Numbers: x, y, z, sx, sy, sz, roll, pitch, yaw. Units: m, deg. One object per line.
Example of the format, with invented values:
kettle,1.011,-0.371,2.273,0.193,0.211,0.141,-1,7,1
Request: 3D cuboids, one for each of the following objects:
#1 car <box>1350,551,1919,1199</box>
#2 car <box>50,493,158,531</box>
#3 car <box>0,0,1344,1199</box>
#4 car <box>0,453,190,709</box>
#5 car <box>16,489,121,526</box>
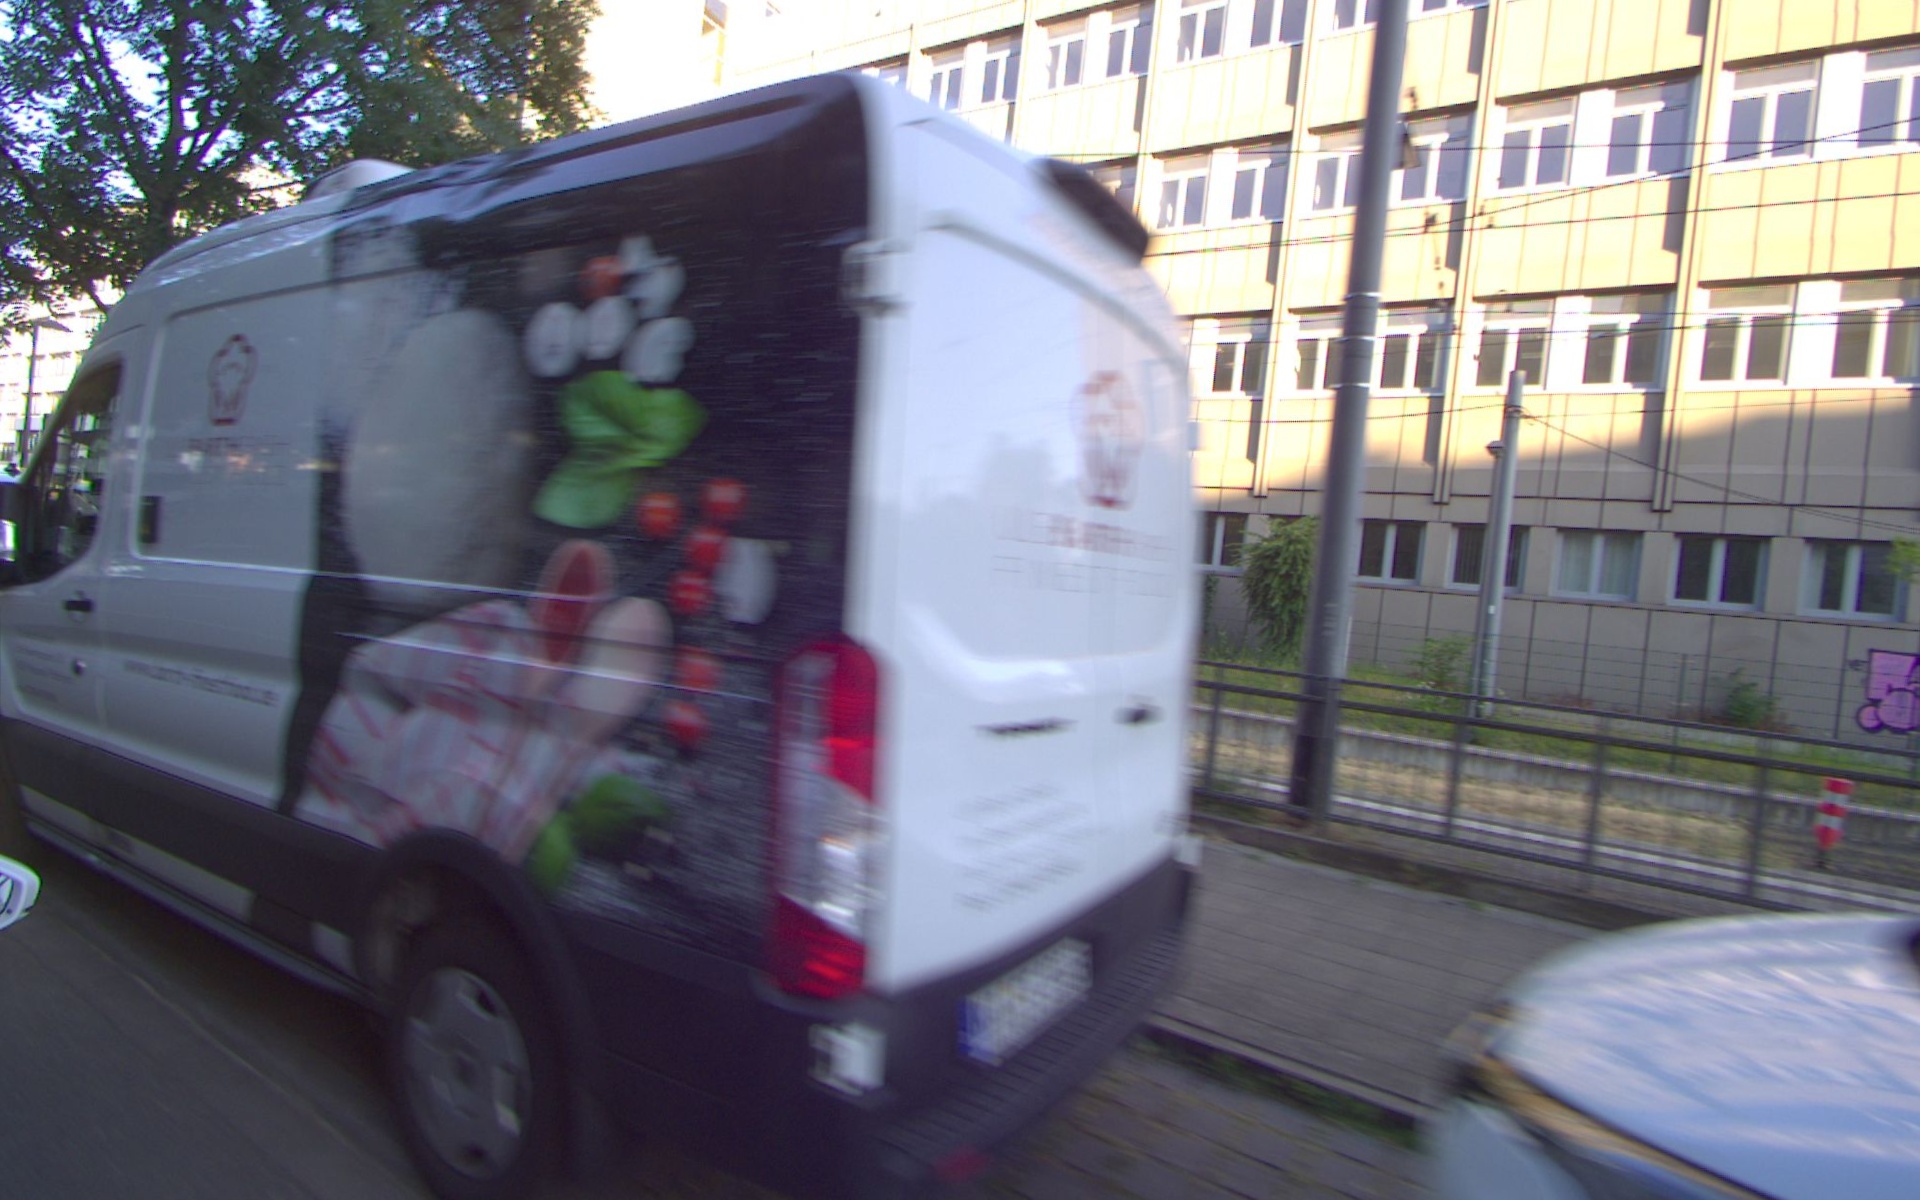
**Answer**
car,2.619,0.947,1.052,3.945,1.605,1.748,7,3,30
car,-44.959,-4.599,52.904,1.648,1.506,3.987,7,2,33
car,-1.763,-0.075,3.571,5.343,2.694,2.051,7,3,31
car,-7.913,-0.309,7.748,4.196,1.665,1.708,7,2,32
car,-48.960,-5.066,55.322,1.648,1.506,3.987,7,2,33
